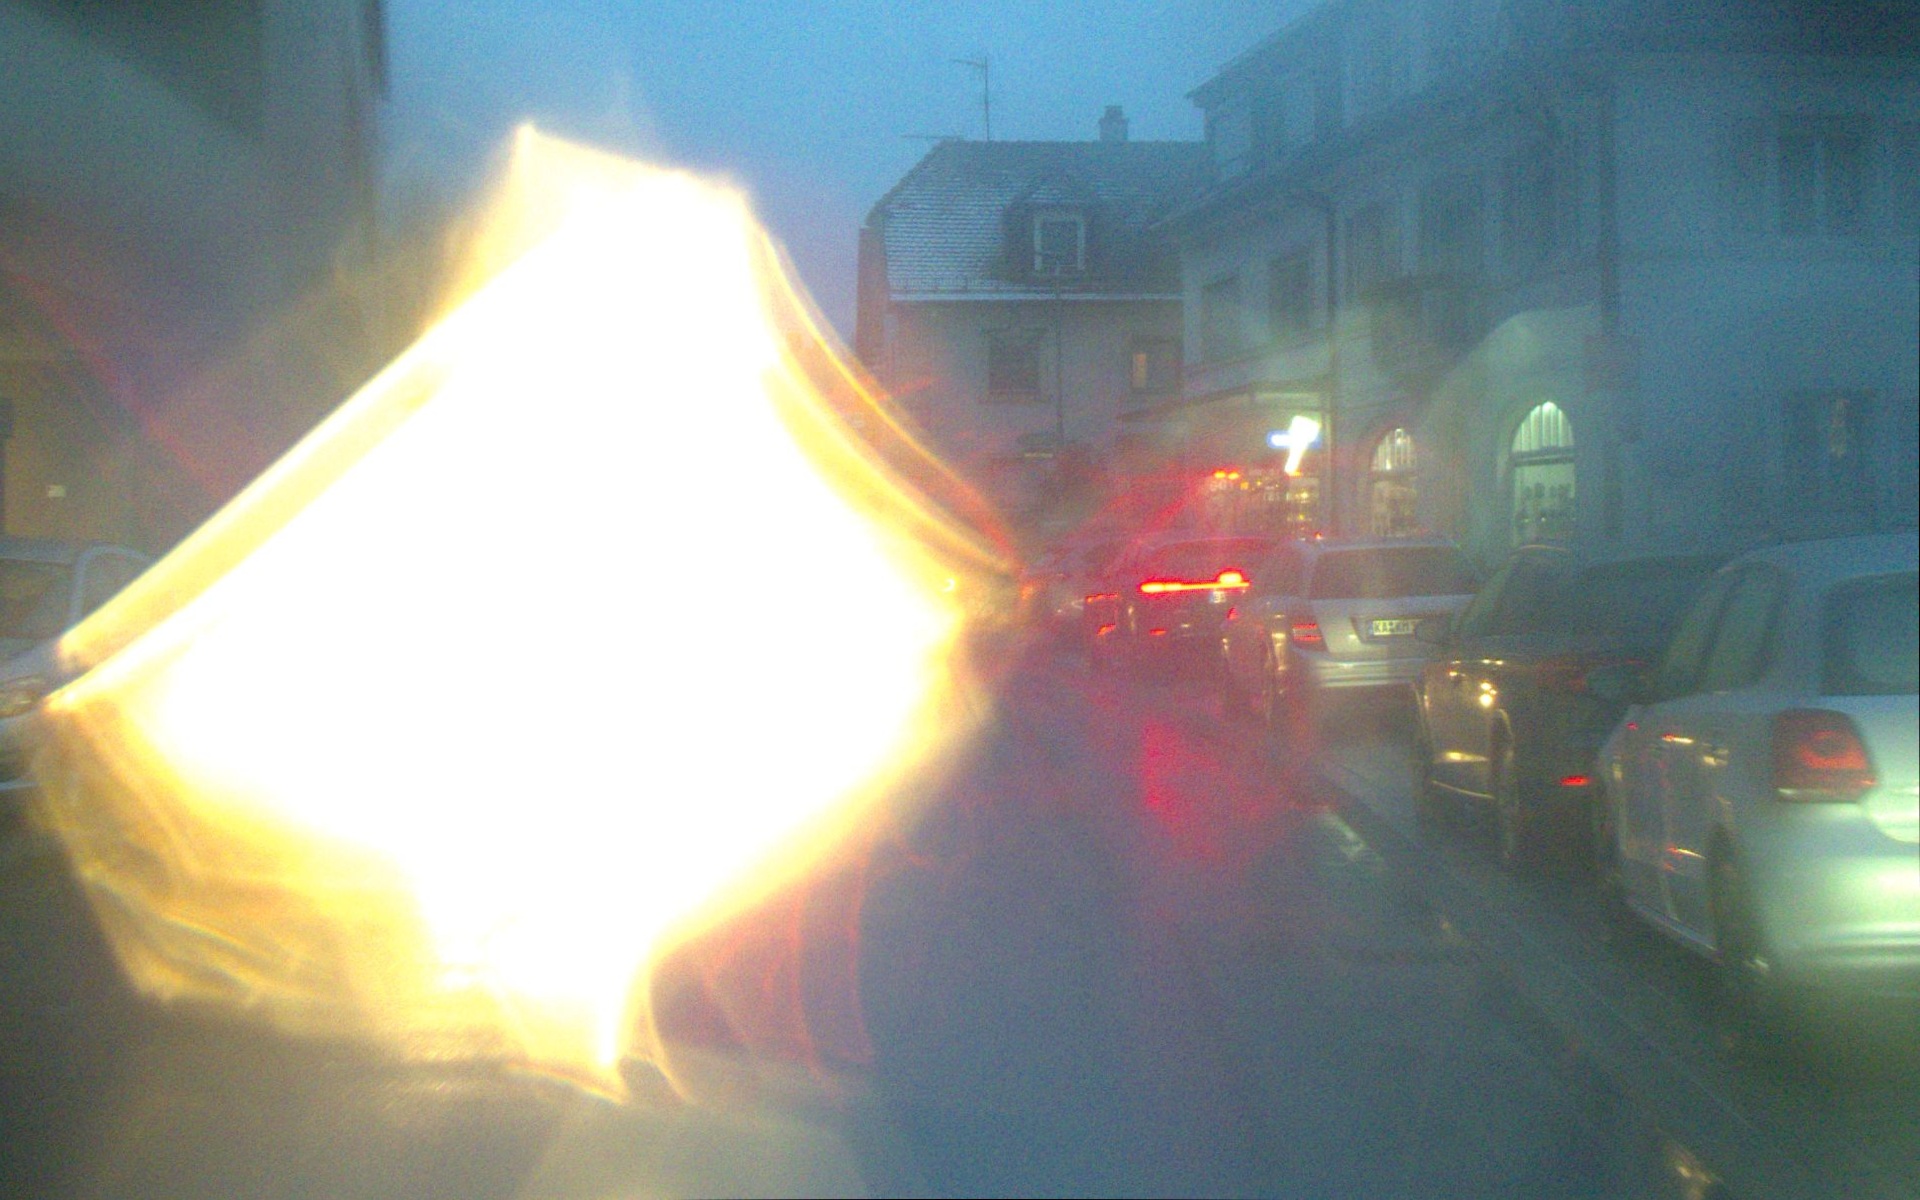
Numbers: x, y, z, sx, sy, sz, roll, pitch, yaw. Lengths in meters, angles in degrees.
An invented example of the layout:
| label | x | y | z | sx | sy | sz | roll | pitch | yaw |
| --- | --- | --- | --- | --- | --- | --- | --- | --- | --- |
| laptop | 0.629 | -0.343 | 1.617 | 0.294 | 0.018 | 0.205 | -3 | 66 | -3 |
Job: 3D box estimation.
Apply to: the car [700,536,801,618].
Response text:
| label | x | y | z | sx | sy | sz | roll | pitch | yaw |
| --- | --- | --- | --- | --- | --- | --- | --- | --- | --- |
| car | -4.015 | -0.460 | 65.465 | 1.637 | 1.476 | 3.272 | 1 | 1 | -8 |

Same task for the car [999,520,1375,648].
| label | x | y | z | sx | sy | sz | roll | pitch | yaw |
| --- | --- | --- | --- | --- | --- | --- | --- | --- | --- |
| car | 2.881 | -0.231 | 44.123 | 4.465 | 1.468 | 1.898 | -2 | 2 | -8 |

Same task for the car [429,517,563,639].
| label | x | y | z | sx | sy | sz | roll | pitch | yaw |
| --- | --- | --- | --- | --- | --- | --- | --- | --- | --- |
| car | -6.636 | -0.350 | 49.169 | 1.794 | 1.637 | 3.813 | 1 | 1 | -8 |

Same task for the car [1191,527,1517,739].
| label | x | y | z | sx | sy | sz | roll | pitch | yaw |
| --- | --- | --- | --- | --- | --- | --- | --- | --- | --- |
| car | 2.975 | 0.195 | 26.876 | 1.794 | 1.455 | 4.531 | -2 | 1 | -3 |

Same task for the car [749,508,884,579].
| label | x | y | z | sx | sy | sz | roll | pitch | yaw |
| --- | --- | --- | --- | --- | --- | --- | --- | --- | --- |
| car | -4.397 | -1.750 | 105.689 | 4.097 | 2.155 | 1.913 | 0 | 1 | -1 |

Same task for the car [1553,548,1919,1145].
| label | x | y | z | sx | sy | sz | roll | pitch | yaw |
| --- | --- | --- | --- | --- | --- | --- | --- | --- | --- |
| car | 2.916 | 0.588 | 10.541 | 1.626 | 1.436 | 3.799 | -3 | 1 | 2 |

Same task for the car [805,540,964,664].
| label | x | y | z | sx | sy | sz | roll | pitch | yaw |
| --- | --- | --- | --- | --- | --- | --- | --- | --- | --- |
| car | -0.983 | 0.002 | 43.197 | 1.637 | 1.476 | 3.380 | 1 | 1 | -7 |

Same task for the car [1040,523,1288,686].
| label | x | y | z | sx | sy | sz | roll | pitch | yaw |
| --- | --- | --- | --- | --- | --- | --- | --- | --- | --- |
| car | 2.048 | -0.013 | 35.855 | 1.882 | 1.541 | 4.672 | -1 | 1 | -5 |

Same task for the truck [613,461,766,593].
| label | x | y | z | sx | sy | sz | roll | pitch | yaw |
| --- | --- | --- | --- | --- | --- | --- | --- | --- | --- |
| truck | -6.825 | -1.813 | 85.766 | 3.014 | 3.118 | 8.002 | 1 | 1 | -10 |

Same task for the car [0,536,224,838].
| label | x | y | z | sx | sy | sz | roll | pitch | yaw |
| --- | --- | --- | --- | --- | --- | --- | --- | --- | --- |
| car | -5.358 | 0.379 | 19.004 | 1.675 | 1.441 | 4.428 | 1 | 1 | -1 |

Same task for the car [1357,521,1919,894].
| label | x | y | z | sx | sy | sz | roll | pitch | yaw |
| --- | --- | --- | --- | --- | --- | --- | --- | --- | --- |
| car | 3.102 | 0.393 | 16.125 | 1.823 | 1.418 | 4.608 | -3 | 1 | -1 |

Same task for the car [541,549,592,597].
| label | x | y | z | sx | sy | sz | roll | pitch | yaw |
| --- | --- | --- | --- | --- | --- | --- | --- | --- | --- |
| car | -13.071 | -0.903 | 114.127 | 1.637 | 1.530 | 3.407 | 0 | 1 | -7 |
